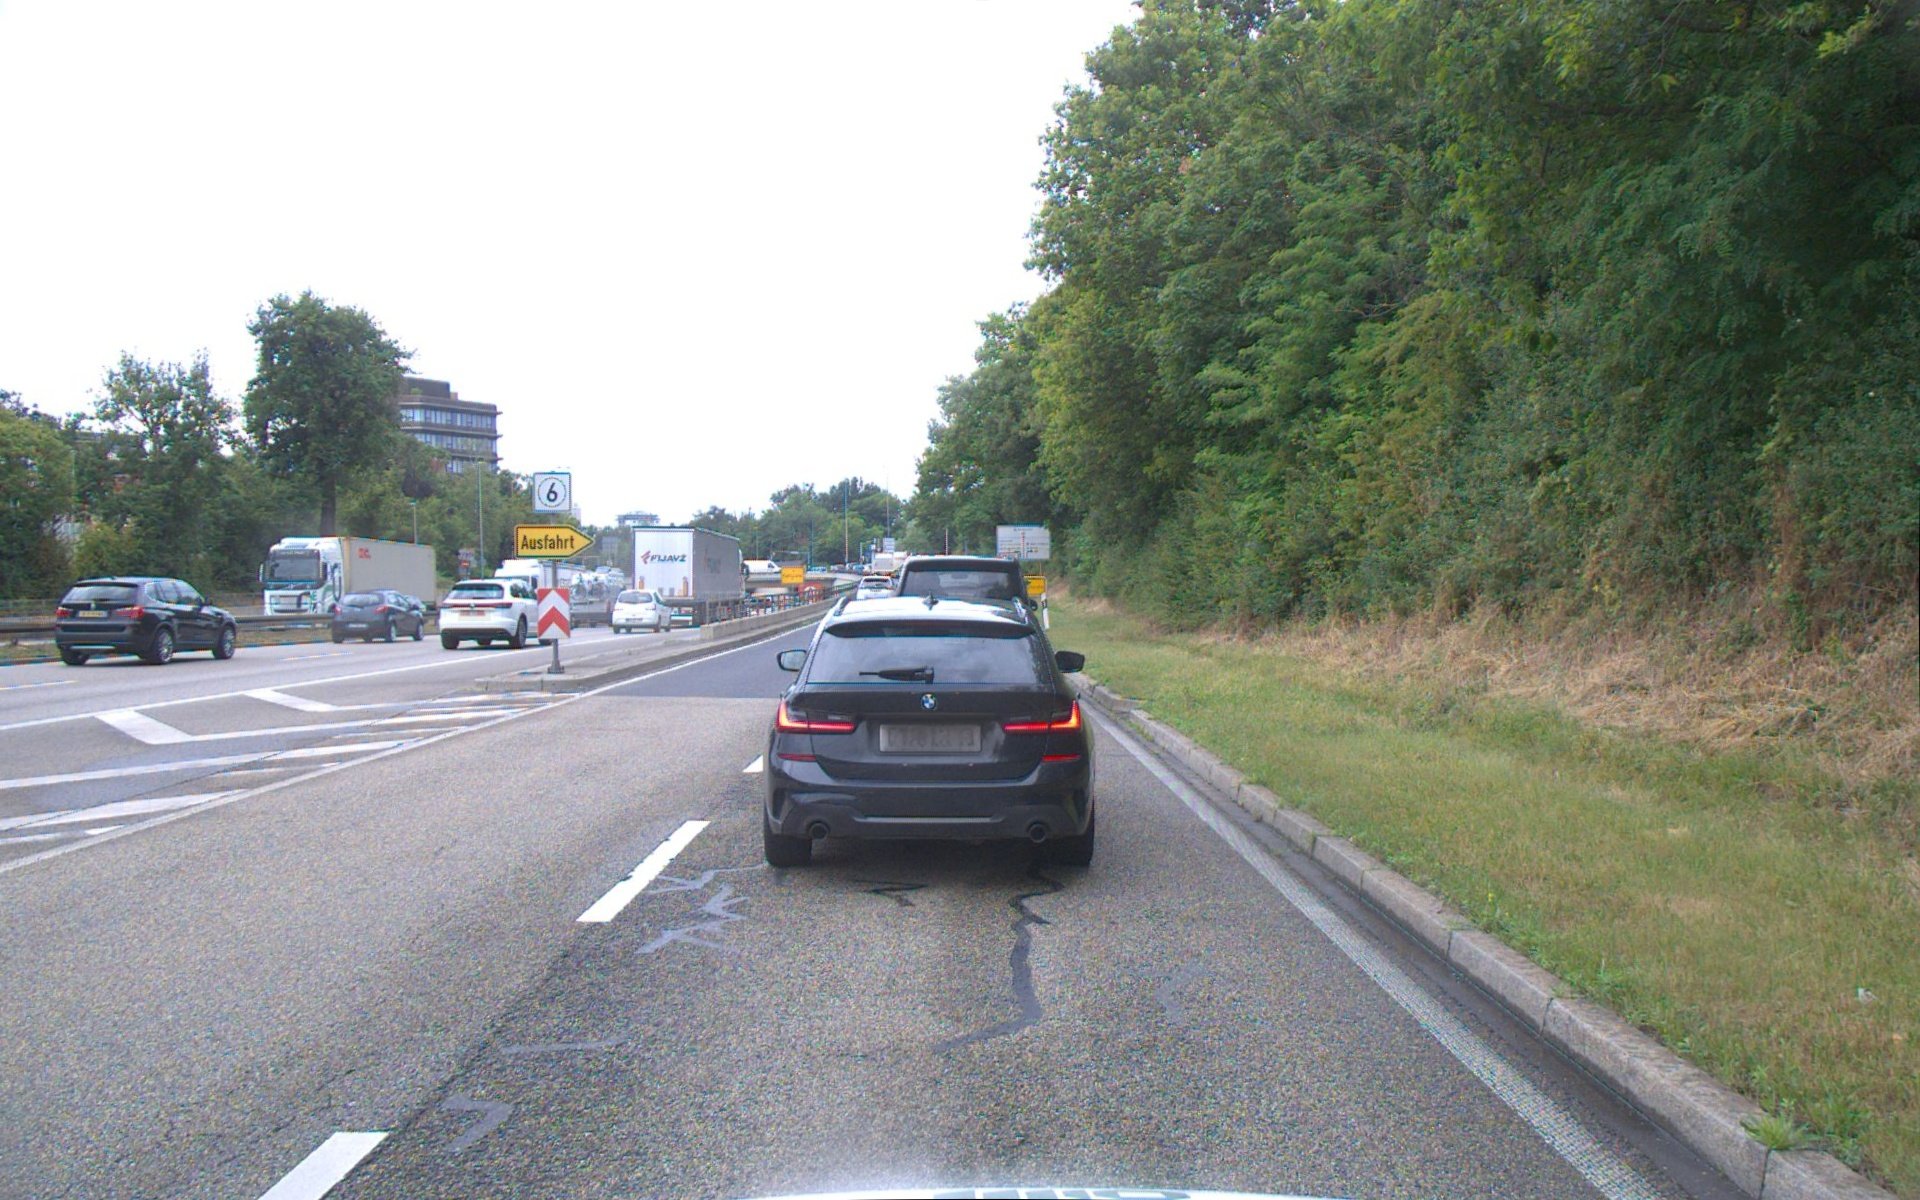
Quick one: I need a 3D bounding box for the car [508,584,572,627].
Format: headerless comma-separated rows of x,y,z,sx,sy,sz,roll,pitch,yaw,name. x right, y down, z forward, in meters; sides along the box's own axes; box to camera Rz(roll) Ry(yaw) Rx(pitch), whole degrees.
-16.855,0.212,66.521,1.653,1.660,3.733,1,0,-2,car

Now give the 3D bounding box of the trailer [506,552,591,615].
-28.003,-1.137,113.261,2.541,4.051,13.781,0,0,-1,trailer

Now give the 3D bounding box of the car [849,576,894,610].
-4.288,-0.342,80.518,1.891,1.624,3.877,0,0,1,car

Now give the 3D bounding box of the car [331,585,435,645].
-16.572,0.391,47.667,1.653,1.636,4.007,1,0,-2,car

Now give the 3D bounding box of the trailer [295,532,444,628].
-27.509,-0.925,77.892,2.348,4.099,13.077,0,0,0,trailer

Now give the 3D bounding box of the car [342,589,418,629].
-22.366,0.336,63.941,1.653,1.489,3.762,-1,0,-1,car

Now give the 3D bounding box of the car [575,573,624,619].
-16.817,-0.212,77.274,1.414,2.080,3.680,0,0,0,car

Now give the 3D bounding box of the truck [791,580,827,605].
-16.083,-0.794,176.962,3.207,2.553,7.659,0,0,-1,truck

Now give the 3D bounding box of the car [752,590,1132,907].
-0.149,0.690,9.874,1.809,1.492,3.998,0,0,-2,car

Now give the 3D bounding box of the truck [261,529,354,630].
-27.473,-0.852,69.786,2.357,4.090,4.000,0,0,0,truck

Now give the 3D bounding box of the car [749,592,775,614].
-12.945,0.183,108.209,1.349,1.422,3.062,0,0,0,car

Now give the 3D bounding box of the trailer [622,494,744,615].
-12.004,-1.851,73.310,3.069,4.807,14.556,1,0,-1,trailer

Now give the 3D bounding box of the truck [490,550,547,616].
-27.869,-1.075,104.486,2.543,4.060,3.999,0,0,-1,truck

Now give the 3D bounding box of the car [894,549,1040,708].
0.076,0.324,21.858,1.759,1.904,4.000,0,0,0,car

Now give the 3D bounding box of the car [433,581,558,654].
-11.645,0.394,41.758,1.906,1.721,4.506,0,1,-1,car

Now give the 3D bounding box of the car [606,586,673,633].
-11.151,0.314,57.790,1.733,1.576,3.491,0,0,-2,car

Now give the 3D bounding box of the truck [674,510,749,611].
-12.099,-1.886,80.849,3.021,4.780,4.231,1,0,-1,truck

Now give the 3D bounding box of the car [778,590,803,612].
-12.150,0.044,118.645,1.418,1.516,3.062,0,0,0,car

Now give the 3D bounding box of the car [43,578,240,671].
-16.122,0.432,32.830,1.852,1.711,4.305,0,0,-2,car
